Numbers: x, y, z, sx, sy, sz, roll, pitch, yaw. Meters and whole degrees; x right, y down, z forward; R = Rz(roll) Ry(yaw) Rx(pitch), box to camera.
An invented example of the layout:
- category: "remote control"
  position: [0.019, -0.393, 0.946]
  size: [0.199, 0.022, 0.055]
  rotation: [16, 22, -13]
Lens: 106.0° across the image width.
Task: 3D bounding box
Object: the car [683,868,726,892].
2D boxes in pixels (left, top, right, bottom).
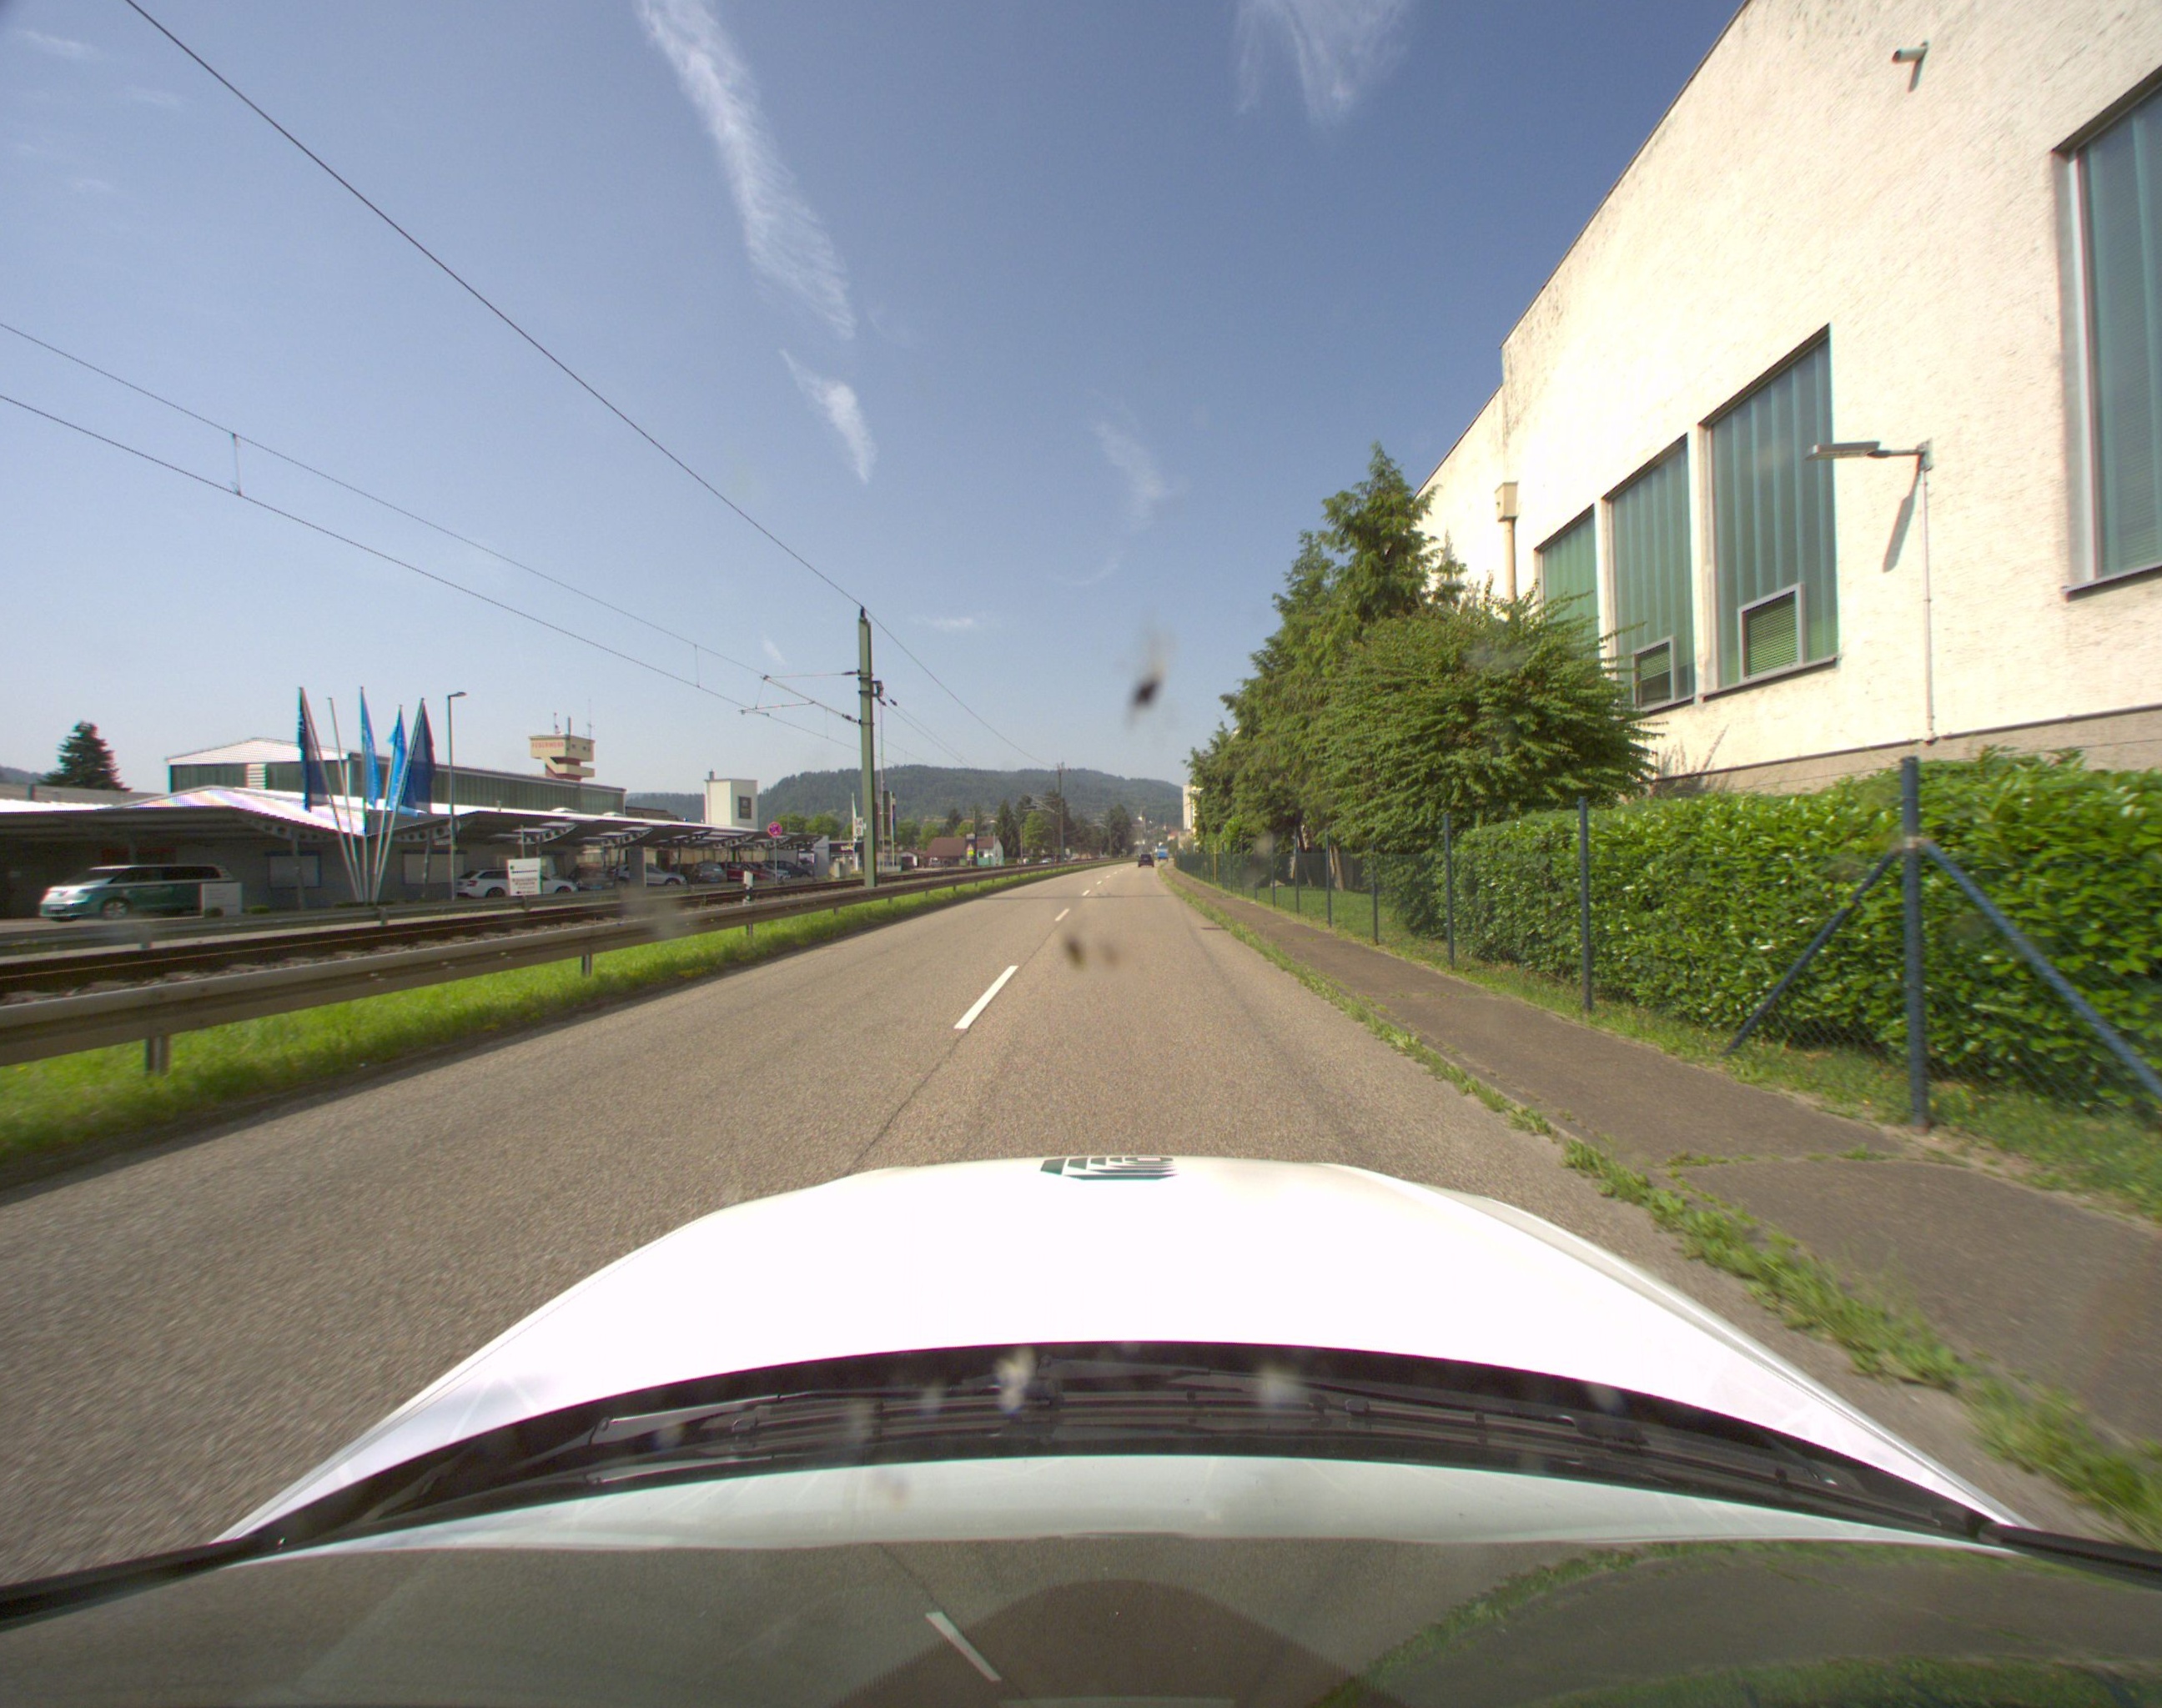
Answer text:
- category: "car"
  position: [-24.600, 1.660, 53.185]
  size: [1.855, 1.505, 4.388]
  rotation: [-1, 0, -34]

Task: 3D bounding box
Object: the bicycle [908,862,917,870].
- category: "bicycle"
  position: [-23.117, 1.614, 111.761]
  size: [0.724, 1.130, 2.176]
  rotation: [-1, -1, 4]

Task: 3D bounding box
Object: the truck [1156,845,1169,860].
- category: "truck"
  position: [16.928, -0.290, 169.189]
  size: [2.300, 2.970, 5.978]
  rotation: [-1, 0, 7]

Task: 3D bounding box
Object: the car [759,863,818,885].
- category: "car"
  position: [-23.432, 1.615, 65.317]
  size: [4.054, 1.622, 1.643]
  rotation: [2, 0, -44]

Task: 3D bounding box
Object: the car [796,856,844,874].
- category: "car"
  position: [-24.796, 1.077, 77.405]
  size: [4.012, 1.530, 1.508]
  rotation: [4, -3, -31]

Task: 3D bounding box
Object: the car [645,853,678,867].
- category: "car"
  position: [-40.514, 0.576, 78.715]
  size: [1.449, 1.298, 3.483]
  rotation: [-1, 0, -3]

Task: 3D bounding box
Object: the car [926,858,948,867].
- category: "car"
  position: [-27.559, 1.657, 155.781]
  size: [3.814, 1.651, 1.716]
  rotation: [-2, 0, 7]

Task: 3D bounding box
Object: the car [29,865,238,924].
- category: "car"
  position: [-33.192, 1.340, 28.777]
  size: [1.890, 1.857, 4.557]
  rotation: [-1, 0, 3]

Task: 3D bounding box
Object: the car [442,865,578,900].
- category: "car"
  position: [-25.087, 1.214, 35.930]
  size: [1.823, 1.385, 4.552]
  rotation: [-1, 0, 33]

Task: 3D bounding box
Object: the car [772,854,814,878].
- category: "car"
  position: [-32.641, 1.413, 92.559]
  size: [2.363, 2.633, 6.164]
  rotation: [-1, -2, 3]

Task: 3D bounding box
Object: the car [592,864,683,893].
- category: "car"
  position: [-25.192, 1.402, 46.306]
  size: [4.290, 1.528, 1.827]
  rotation: [2, 0, -37]

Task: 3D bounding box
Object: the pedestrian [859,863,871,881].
- category: "pedestrian"
  position: [-20.260, 1.686, 76.311]
  size: [0.798, 1.734, 0.836]
  rotation: [-2, 0, 3]

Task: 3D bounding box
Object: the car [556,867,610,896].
- category: "car"
  position: [-25.134, 1.331, 41.059]
  size: [1.856, 1.342, 4.160]
  rotation: [-1, 0, -38]

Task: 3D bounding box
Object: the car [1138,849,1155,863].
- category: "car"
  position: [7.776, 0.276, 96.832]
  size: [1.910, 1.640, 4.006]
  rotation: [-1, 0, 6]

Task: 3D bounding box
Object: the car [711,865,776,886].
- category: "car"
  position: [-23.929, 1.506, 57.765]
  size: [3.941, 1.325, 1.503]
  rotation: [2, 0, 2]

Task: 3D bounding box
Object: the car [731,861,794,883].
- category: "car"
  position: [-23.646, 1.336, 60.491]
  size: [3.941, 1.528, 1.664]
  rotation: [2, 0, 2]

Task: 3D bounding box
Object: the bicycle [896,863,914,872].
- category: "bicycle"
  position: [-23.494, 1.783, 108.702]
  size: [0.721, 1.130, 2.337]
  rotation: [-2, -1, 39]

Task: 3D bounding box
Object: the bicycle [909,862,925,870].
- category: "bicycle"
  position: [-23.149, 1.721, 114.845]
  size: [2.164, 1.130, 0.729]
  rotation: [-1, -1, -5]
